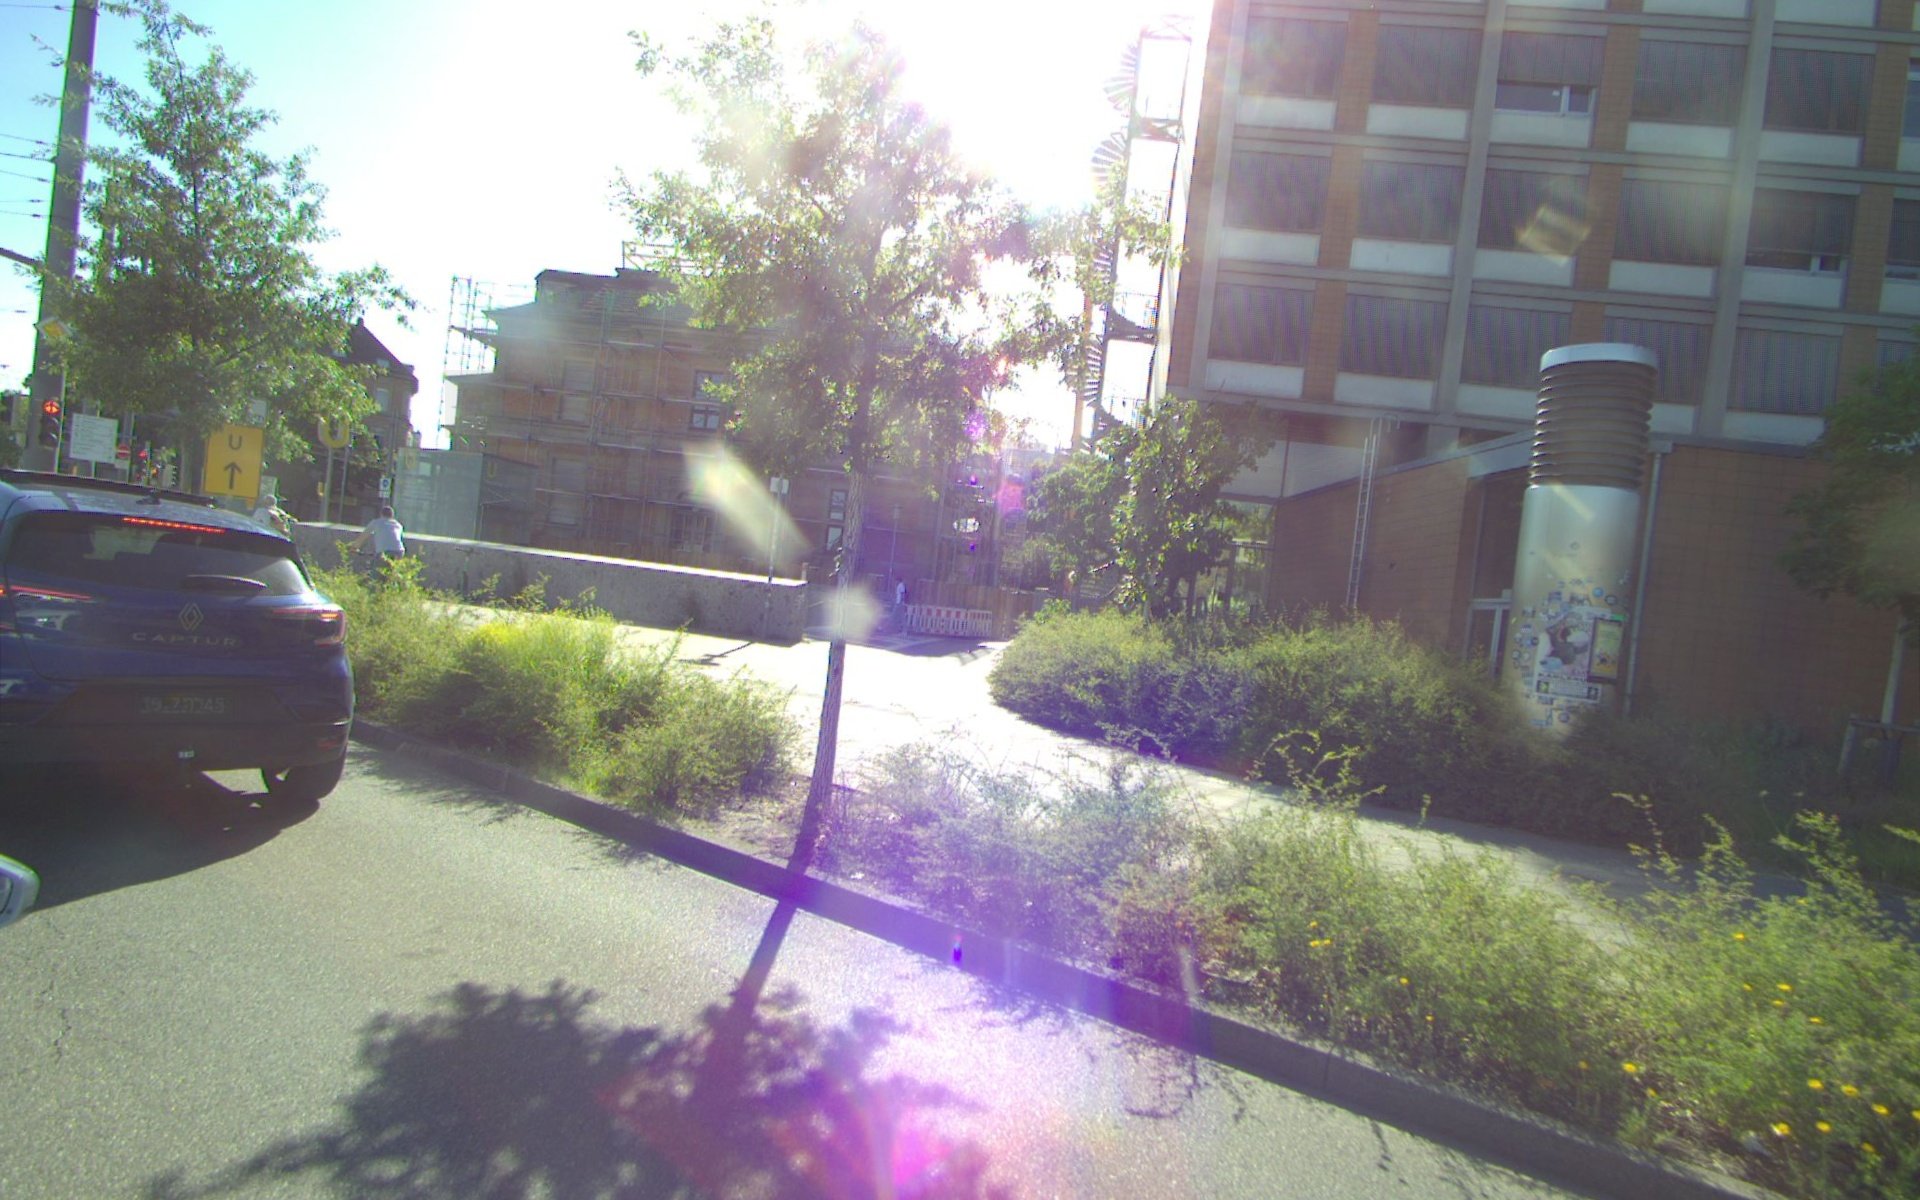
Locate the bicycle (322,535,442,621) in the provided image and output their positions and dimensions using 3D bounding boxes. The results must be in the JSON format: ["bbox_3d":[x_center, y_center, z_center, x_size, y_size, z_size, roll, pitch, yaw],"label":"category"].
[{"bbox_3d":[-9.468,-0.362,16.460,1.837,1.180,0.717,7,1,26],"label":"bicycle"}]

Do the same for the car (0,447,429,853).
[{"bbox_3d":[-4.965,0.121,5.719,3.739,1.636,1.878,6,-1,37],"label":"car"}]

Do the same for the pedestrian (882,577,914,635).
[{"bbox_3d":[-2.014,0.196,32.975,0.775,1.774,0.538,9,1,-2],"label":"pedestrian"}]

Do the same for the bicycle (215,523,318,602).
[{"bbox_3d":[-12.363,-0.665,17.922,1.839,1.180,0.746,7,1,31],"label":"bicycle"}]

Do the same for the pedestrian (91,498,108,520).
[{"bbox_3d":[-62.556,-6.630,73.123,0.786,1.427,0.599,9,2,30],"label":"pedestrian"}]

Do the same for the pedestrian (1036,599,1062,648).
[{"bbox_3d":[3.367,0.891,38.052,0.713,1.774,0.538,7,1,-1],"label":"pedestrian"}]

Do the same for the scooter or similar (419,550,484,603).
[{"bbox_3d":[-11.772,-0.536,23.284,1.226,1.025,0.469,9,1,14],"label":"scooter or similar"}]

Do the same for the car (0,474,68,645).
[{"bbox_3d":[-11.066,-0.607,10.522,3.571,1.636,1.877,6,-2,38],"label":"car"}]

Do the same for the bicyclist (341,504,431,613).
[{"bbox_3d":[-9.364,-0.673,16.419,0.960,1.637,0.721,7,1,27],"label":"bicyclist"}]

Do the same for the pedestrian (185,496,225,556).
[{"bbox_3d":[-23.597,-2.300,31.461,0.587,1.744,0.868,5,-1,-16],"label":"pedestrian"}]

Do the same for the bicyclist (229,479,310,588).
[{"bbox_3d":[-12.288,-1.176,17.901,0.961,1.785,0.720,7,1,31],"label":"bicyclist"}]
